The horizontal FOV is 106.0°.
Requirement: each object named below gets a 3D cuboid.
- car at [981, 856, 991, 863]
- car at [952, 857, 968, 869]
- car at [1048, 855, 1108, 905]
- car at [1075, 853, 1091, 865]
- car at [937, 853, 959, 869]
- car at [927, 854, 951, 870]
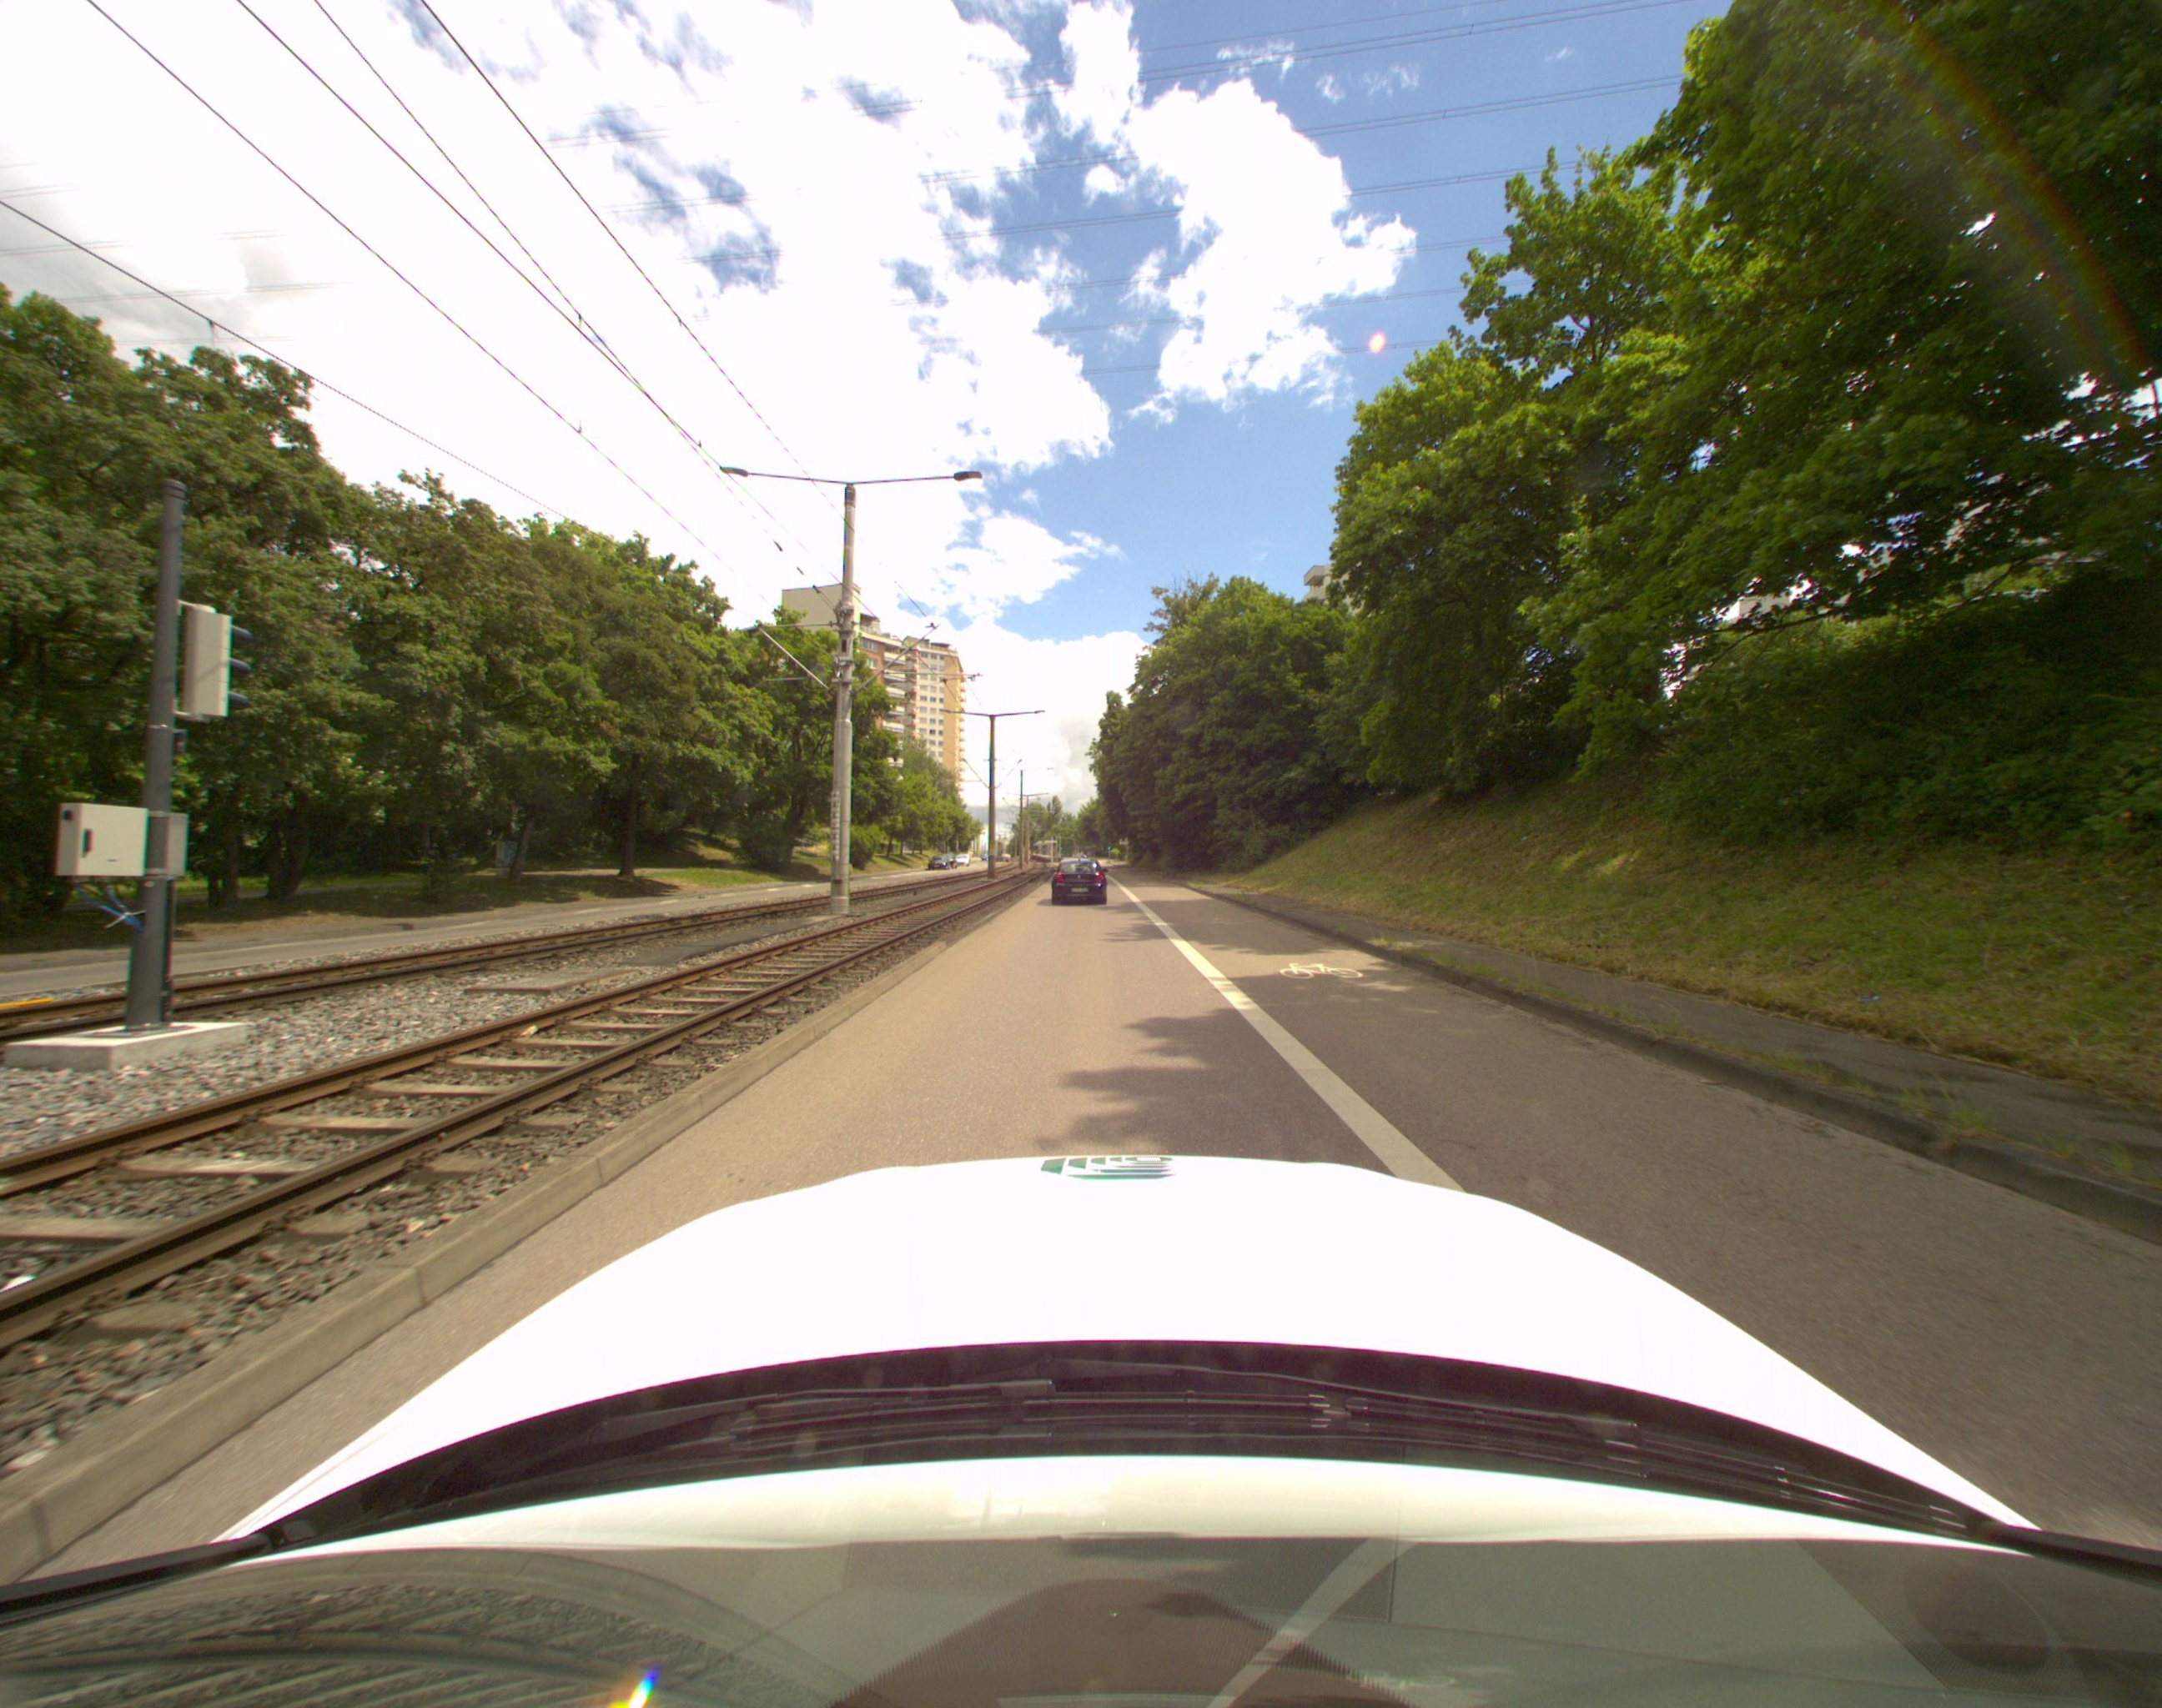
[{"bbox_3d":[-20.393,1.156,174.998,1.716,1.442,3.927,0,0,-11],"label":"car"},{"bbox_3d":[-15.438,1.143,104.120,1.779,1.532,4.236,-1,0,-6],"label":"car"},{"bbox_3d":[-0.159,0.783,26.272,1.777,1.459,3.918,-1,0,-2],"label":"car"},{"bbox_3d":[0.228,0.661,101.414,1.778,1.459,3.915,0,0,-4],"label":"car"},{"bbox_3d":[-14.189,0.808,87.058,1.770,1.630,4.377,-1,-1,-3],"label":"car"},{"bbox_3d":[-13.995,0.752,80.391,1.770,1.498,3.993,0,0,-3],"label":"car"}]
